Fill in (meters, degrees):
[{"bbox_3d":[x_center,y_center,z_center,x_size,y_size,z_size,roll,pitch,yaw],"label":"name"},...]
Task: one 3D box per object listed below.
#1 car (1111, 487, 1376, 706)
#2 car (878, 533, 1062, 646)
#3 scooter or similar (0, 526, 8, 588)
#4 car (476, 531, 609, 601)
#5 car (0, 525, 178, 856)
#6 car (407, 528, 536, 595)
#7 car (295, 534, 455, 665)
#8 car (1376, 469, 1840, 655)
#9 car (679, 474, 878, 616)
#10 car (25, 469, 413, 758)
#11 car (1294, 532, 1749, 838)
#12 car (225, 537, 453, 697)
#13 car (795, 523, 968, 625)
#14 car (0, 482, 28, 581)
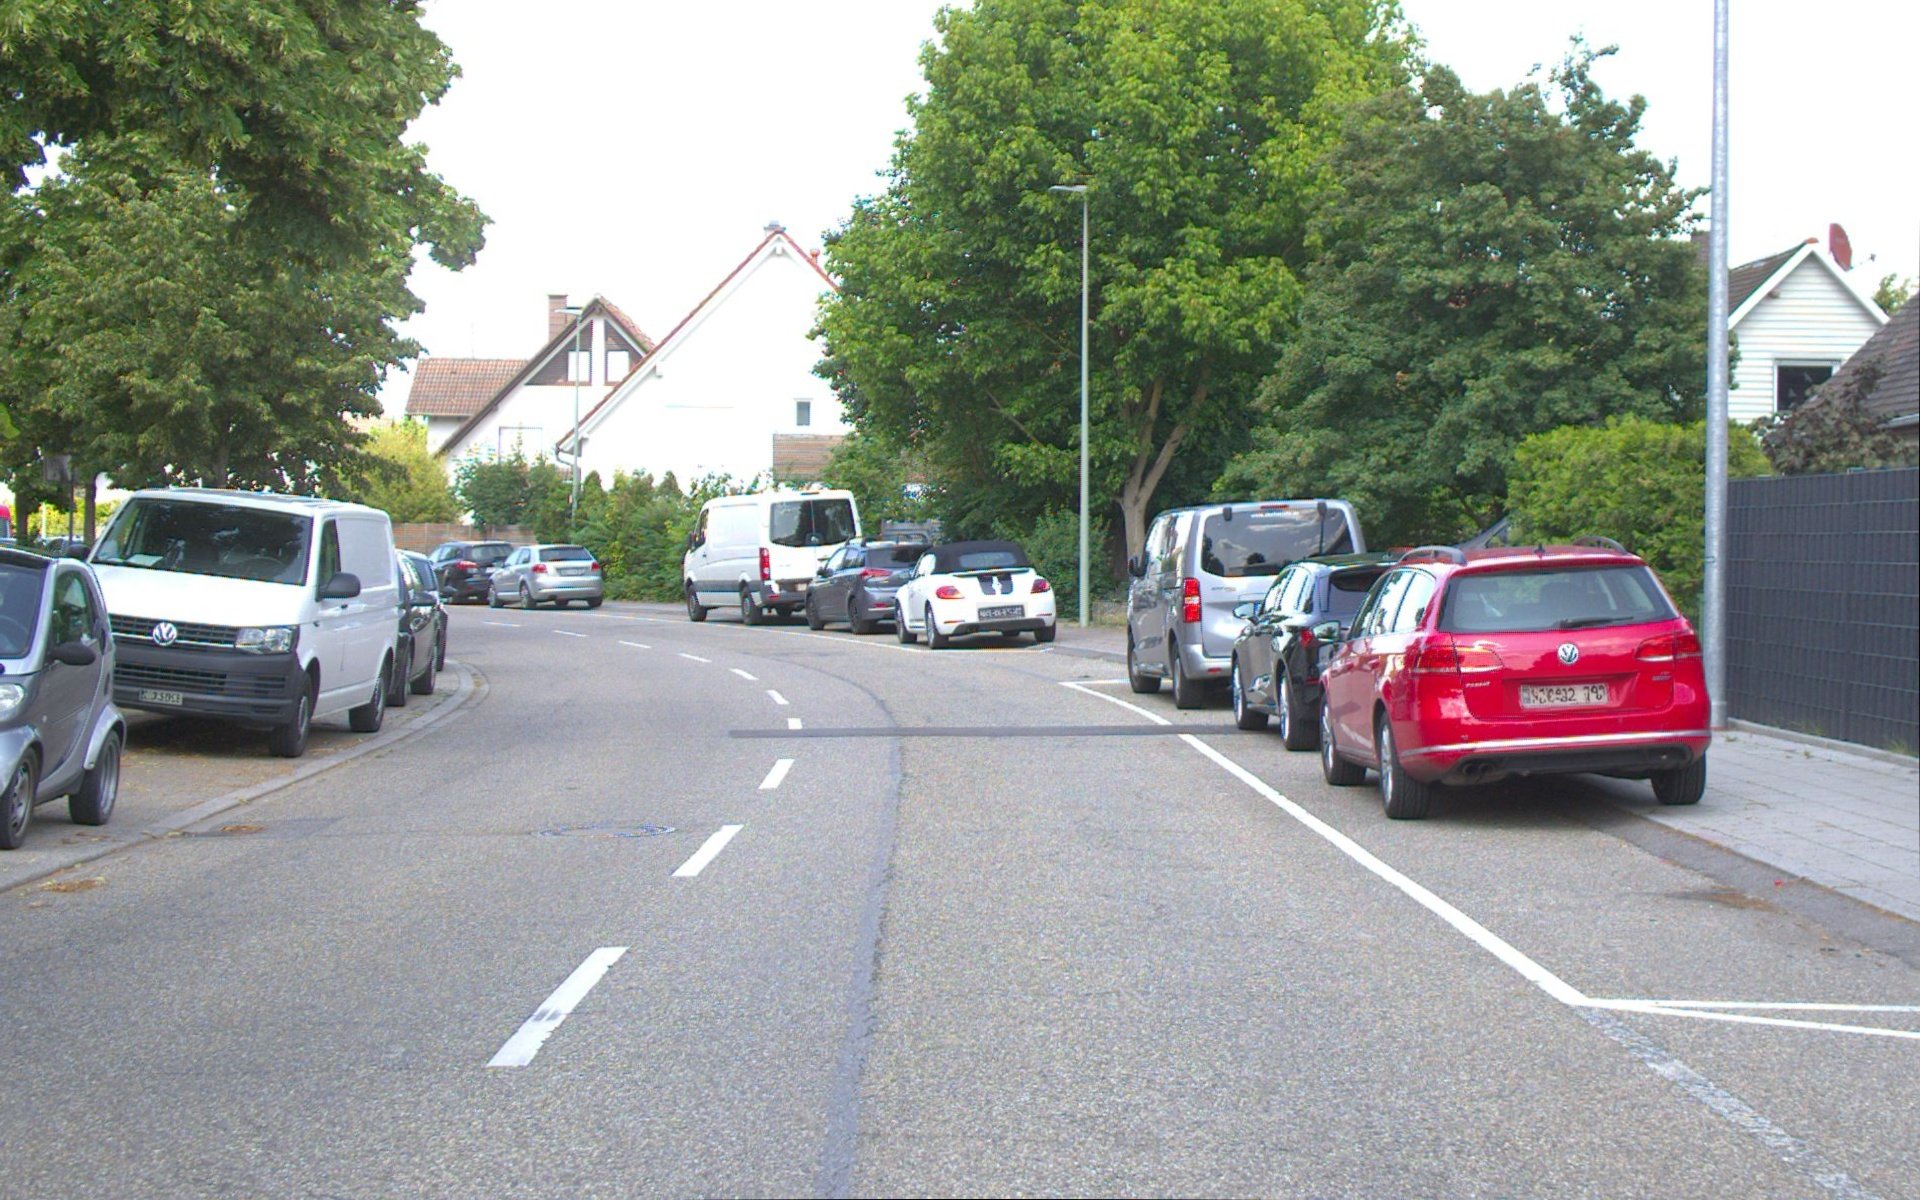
[{"bbox_3d":[2.667,-0.083,33.477,1.842,1.938,4.877,-1,1,-4],"label":"car"},{"bbox_3d":[0.089,-0.186,49.897,1.739,1.507,4.460,1,1,-12],"label":"car"},{"bbox_3d":[-18.525,-0.833,65.758,0.419,1.161,1.141,2,1,-22],"label":"scooter or similar"},{"bbox_3d":[-9.353,-0.774,76.713,1.737,1.452,4.366,1,1,-24],"label":"car"},{"bbox_3d":[-5.541,0.396,18.974,1.517,1.544,3.756,6,1,-1],"label":"car"},{"bbox_3d":[-11.657,-0.932,81.826,1.737,1.504,4.477,1,1,-26],"label":"car"},{"bbox_3d":[-7.483,-0.044,43.709,1.760,1.484,4.034,3,1,-12],"label":"car"},{"bbox_3d":[7.867,-0.474,41.657,5.344,2.050,1.999,2,1,14],"label":"car"},{"bbox_3d":[-3.382,-1.025,62.700,2.117,2.432,5.896,1,1,-18],"label":"car"},{"bbox_3d":[-5.744,0.038,27.327,1.879,2.002,5.323,2,1,0],"label":"car"},{"bbox_3d":[3.189,0.405,20.469,1.849,1.574,4.733,1,1,-1],"label":"car"},{"bbox_3d":[-6.283,0.120,35.222,1.760,1.484,4.505,2,1,-4],"label":"car"},{"bbox_3d":[-1.347,-0.461,56.847,1.717,1.580,4.125,1,1,-18],"label":"car"},{"bbox_3d":[-26.194,-1.891,90.486,2.063,2.492,5.842,5,0,-25],"label":"car"}]
